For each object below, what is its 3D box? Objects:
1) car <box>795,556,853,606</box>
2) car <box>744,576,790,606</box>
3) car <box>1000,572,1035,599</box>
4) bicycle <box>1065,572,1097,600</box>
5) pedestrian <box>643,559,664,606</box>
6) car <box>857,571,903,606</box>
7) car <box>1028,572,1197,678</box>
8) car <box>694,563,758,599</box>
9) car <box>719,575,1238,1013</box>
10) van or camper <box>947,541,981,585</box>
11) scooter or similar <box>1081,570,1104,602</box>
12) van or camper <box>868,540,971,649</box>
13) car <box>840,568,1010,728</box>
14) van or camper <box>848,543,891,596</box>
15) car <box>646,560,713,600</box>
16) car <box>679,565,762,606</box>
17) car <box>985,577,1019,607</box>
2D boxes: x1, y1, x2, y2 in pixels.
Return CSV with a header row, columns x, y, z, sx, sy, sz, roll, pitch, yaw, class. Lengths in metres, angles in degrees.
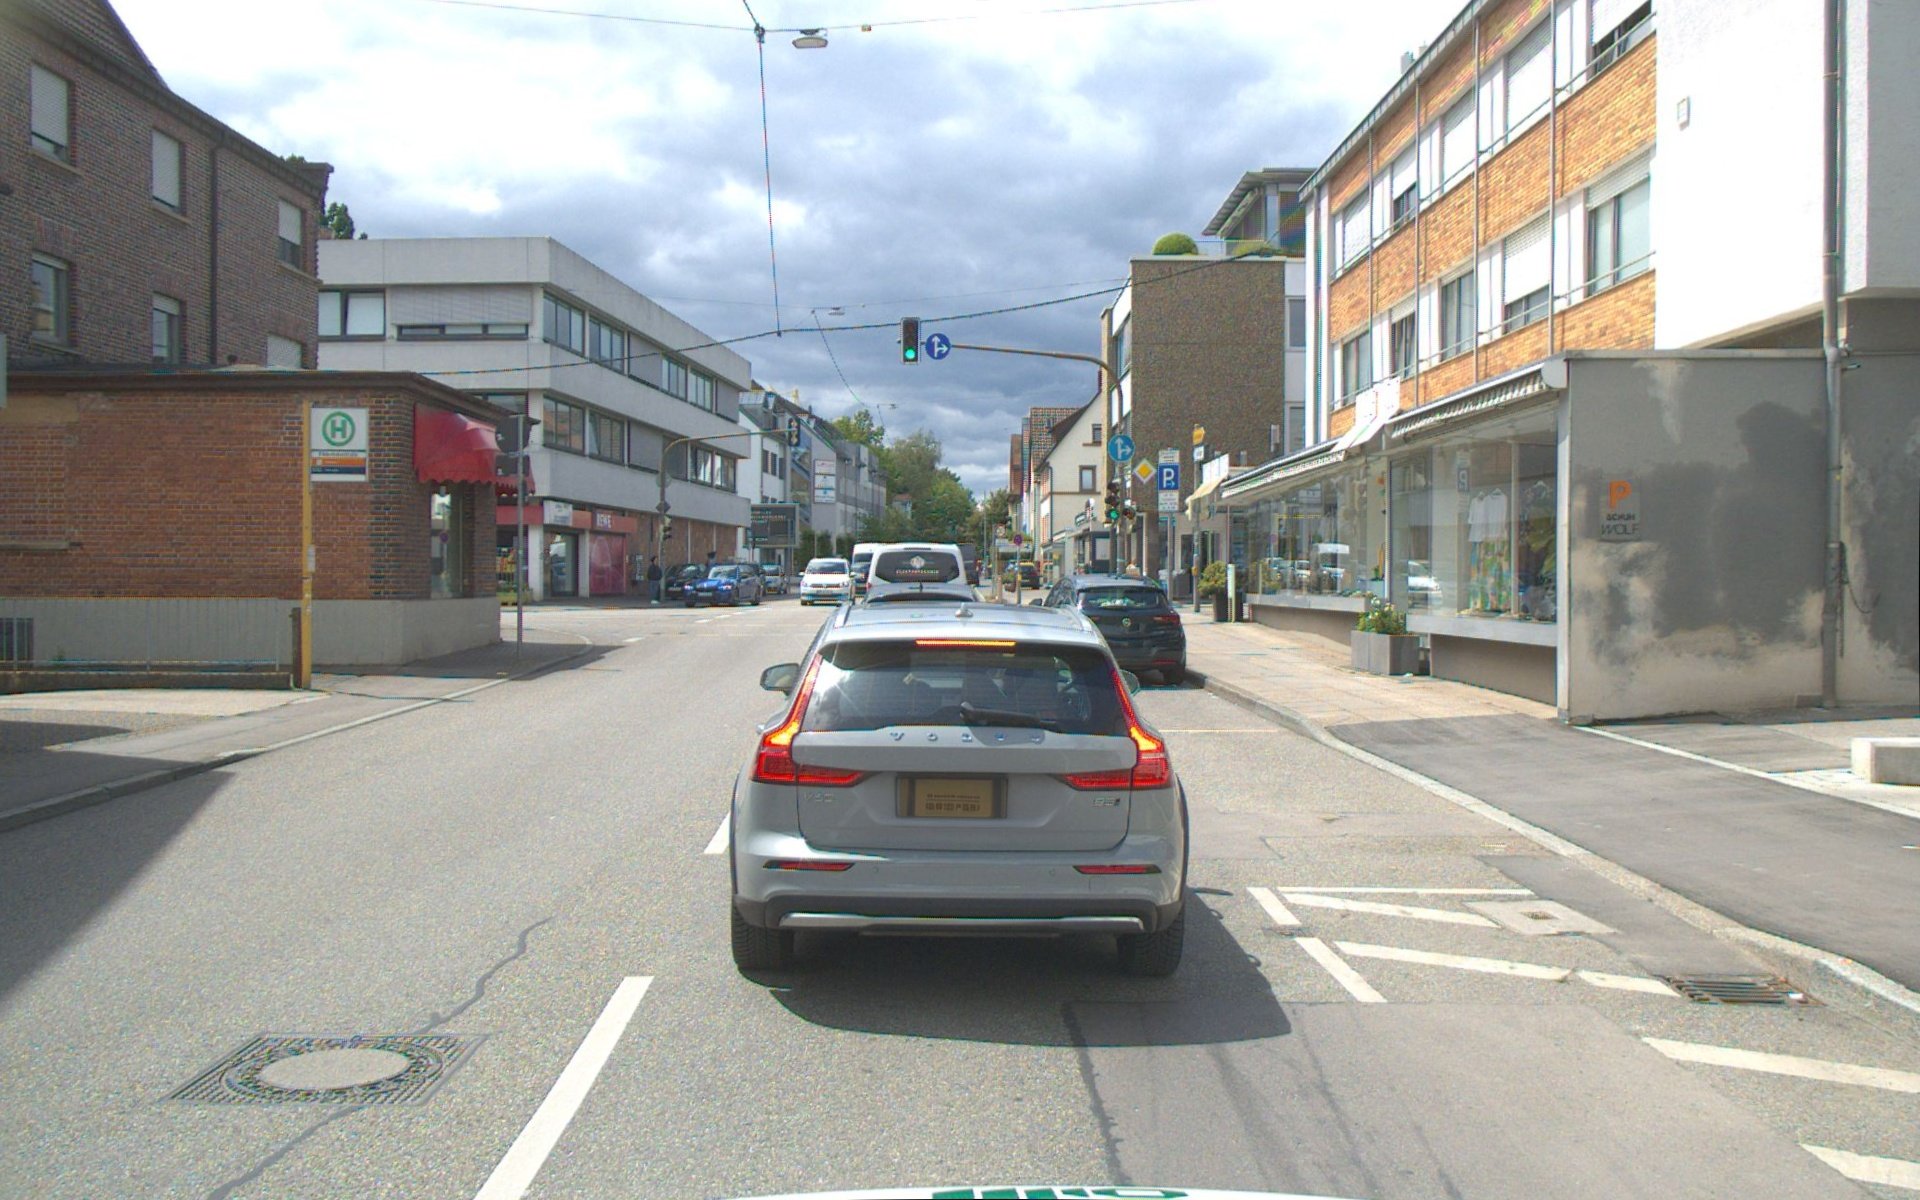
x,y,z,sx,sy,sz,roll,pitch,yaw,class
-4.812,-0.698,58.890,1.739,1.640,4.120,-1,2,-1,car
-9.768,-0.450,84.034,1.719,1.451,3.863,0,0,2,car
3.294,-0.817,95.550,1.676,1.490,3.998,1,0,-2,car
5.143,-0.613,70.565,0.546,1.164,2.288,-1,1,-18,bicycle
-10.952,-0.623,59.188,0.606,1.670,0.660,0,1,1,pedestrian
-3.569,-0.505,74.459,1.753,1.537,3.846,0,0,2,car
2.059,0.320,23.366,1.772,1.370,3.714,0,0,-5,car
-10.139,-0.834,71.907,1.864,1.468,4.446,2,1,4,car
0.037,0.669,7.739,1.798,1.512,3.999,0,0,-1,car
0.272,-2.396,107.347,2.080,2.733,4.782,-1,1,0,van or camper
5.383,-0.570,67.213,0.336,1.275,1.235,-3,1,-26,scooter or similar
-0.729,-0.165,30.566,1.782,1.866,4.000,0,2,-1,van or camper
-0.358,0.440,17.676,1.617,1.508,3.607,1,1,-1,car
-4.651,-1.617,85.487,2.105,2.600,5.436,-1,2,-2,van or camper
-11.219,-0.812,66.307,1.747,1.490,4.089,2,1,3,car
-8.400,-0.530,58.399,1.951,1.361,4.359,0,1,5,car
1.890,-0.347,75.153,1.409,1.310,3.247,0,0,-1,car
